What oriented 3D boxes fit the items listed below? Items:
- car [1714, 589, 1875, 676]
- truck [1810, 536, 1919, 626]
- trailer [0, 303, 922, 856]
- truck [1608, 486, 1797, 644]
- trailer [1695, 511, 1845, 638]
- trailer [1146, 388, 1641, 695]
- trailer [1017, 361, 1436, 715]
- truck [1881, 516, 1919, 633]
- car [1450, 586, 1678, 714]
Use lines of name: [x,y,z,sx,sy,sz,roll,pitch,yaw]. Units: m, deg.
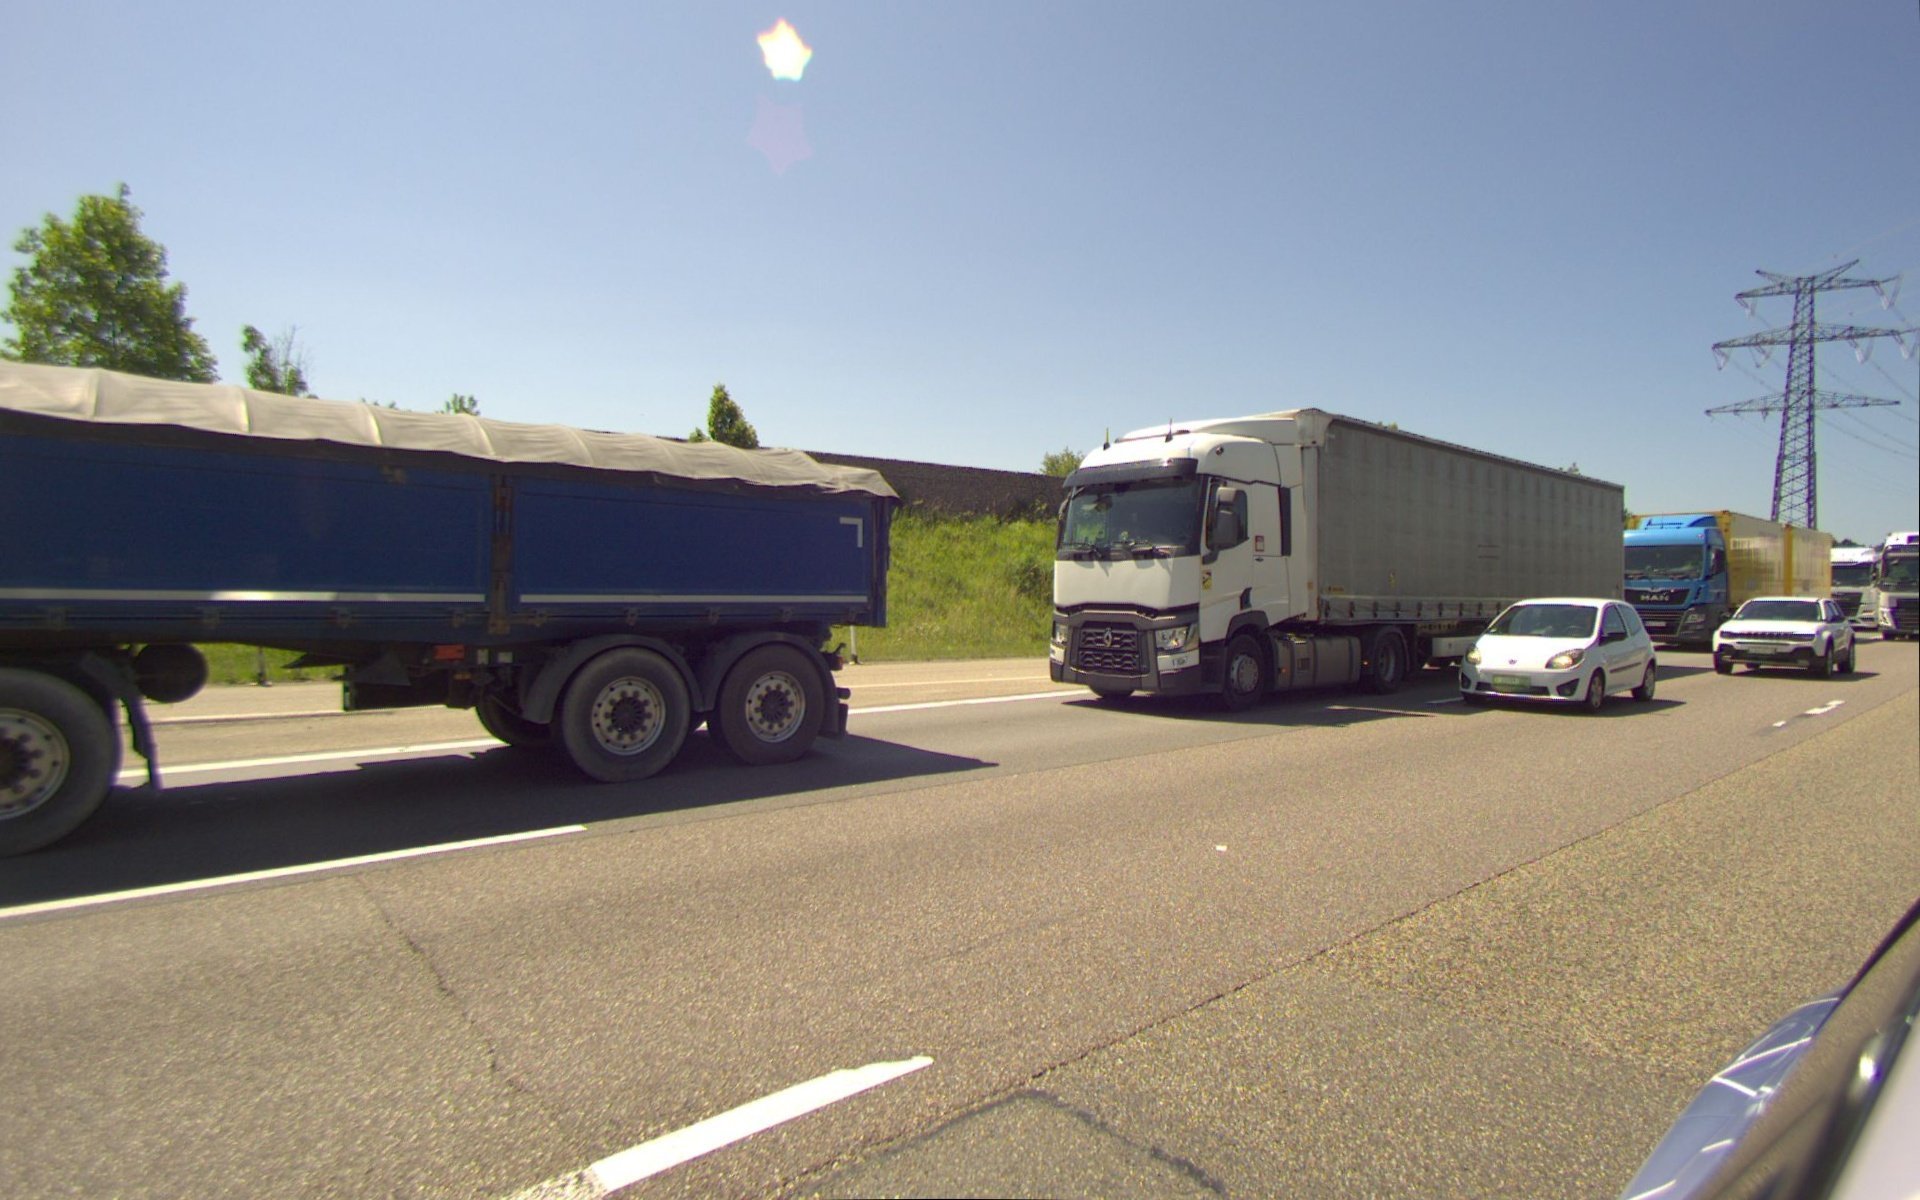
car: [16.551,0.563,20.027,3.783,1.549,1.775,-1,1,-39]
truck: [44.363,-0.878,49.334,11.097,3.980,2.694,0,0,-40]
trailer: [-4.637,-0.093,7.367,8.954,2.873,2.749,1,-1,-41]
truck: [22.957,-0.901,30.995,9.781,4.161,2.769,1,0,-42]
trailer: [29.968,-0.820,37.244,9.213,4.170,2.770,1,0,-41]
trailer: [8.978,-0.772,19.075,13.509,4.101,2.967,0,0,-41]
trailer: [4.119,-0.714,14.894,6.297,4.095,2.930,0,0,-41]
truck: [39.186,-0.881,39.587,14.000,4.090,2.717,0,0,-40]
car: [8.514,0.587,14.152,3.759,1.529,1.658,-1,1,-41]
